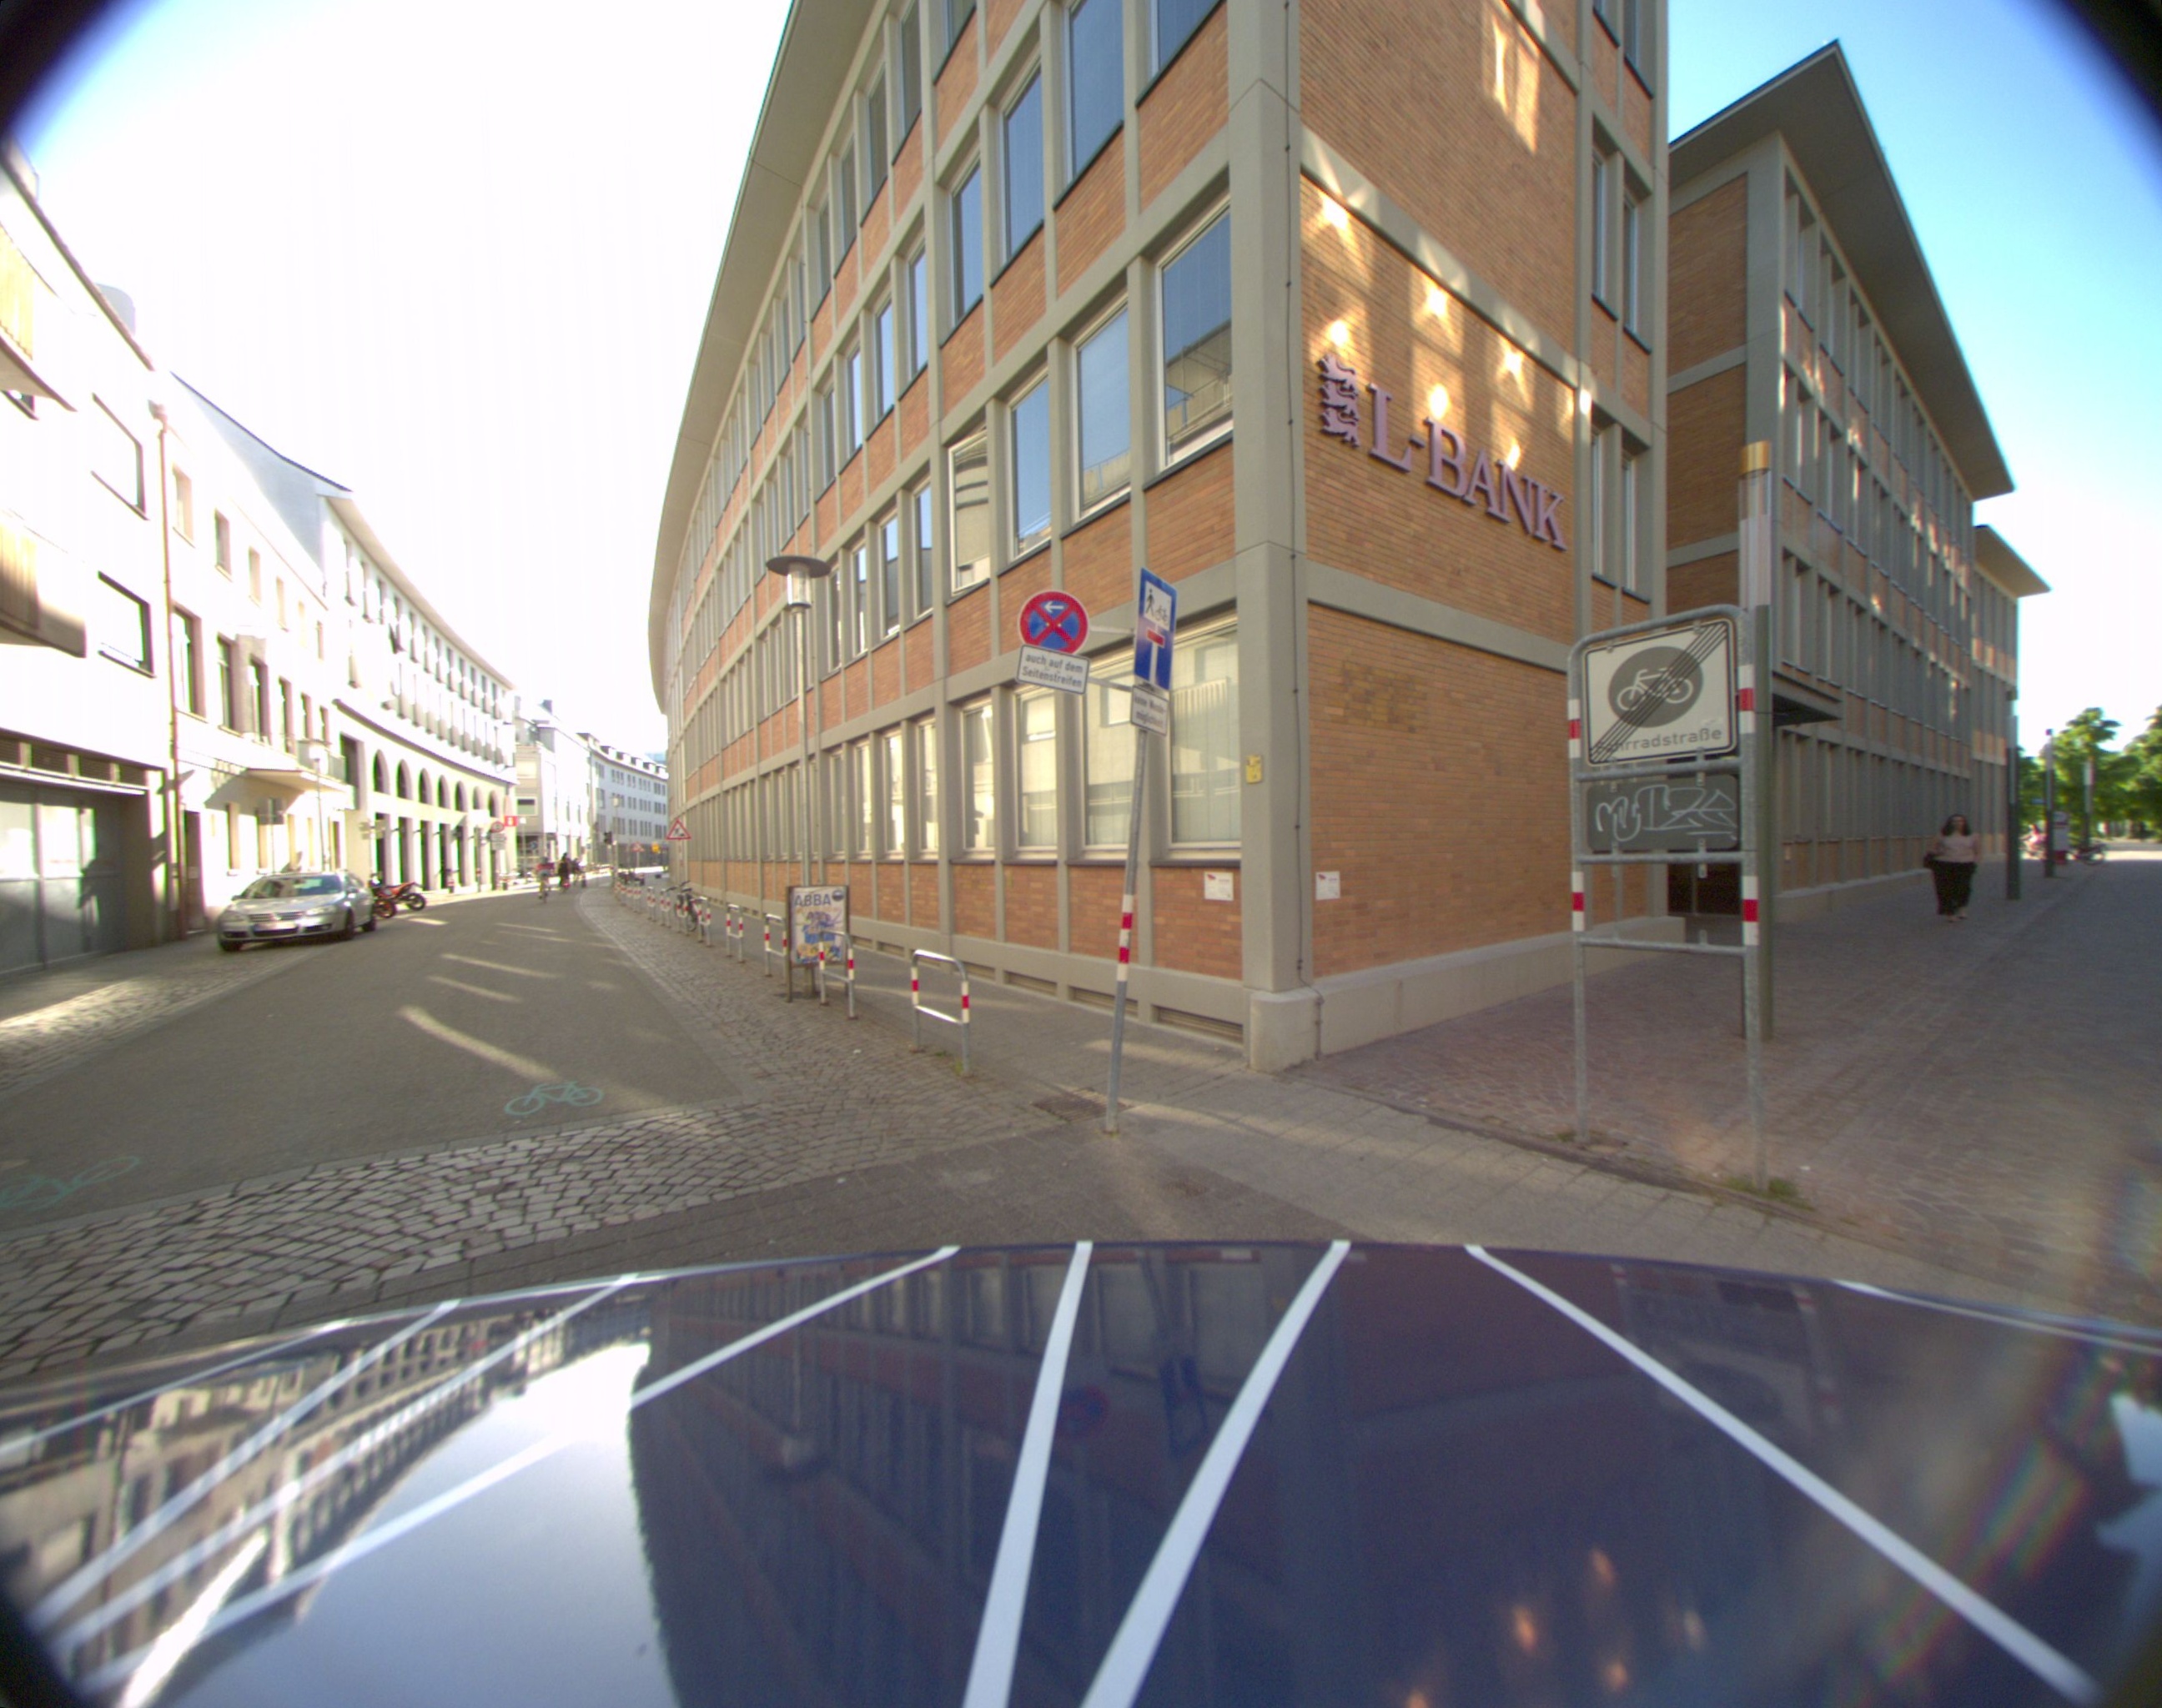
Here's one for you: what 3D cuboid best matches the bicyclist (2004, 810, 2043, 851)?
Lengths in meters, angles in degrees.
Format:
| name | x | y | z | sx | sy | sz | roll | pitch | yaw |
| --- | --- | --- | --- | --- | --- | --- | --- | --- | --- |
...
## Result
| name | x | y | z | sx | sy | sz | roll | pitch | yaw |
| --- | --- | --- | --- | --- | --- | --- | --- | --- | --- |
| bicyclist | 47.118 | -1.160 | 37.992 | 1.005 | 2.002 | 1.093 | -2 | 2 | -32 |

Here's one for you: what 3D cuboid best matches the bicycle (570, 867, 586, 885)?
| name | x | y | z | sx | sy | sz | roll | pitch | yaw |
| --- | --- | --- | --- | --- | --- | --- | --- | --- | --- |
| bicycle | -30.024 | 1.296 | 45.350 | 0.624 | 0.955 | 1.716 | -2 | 2 | -30 |

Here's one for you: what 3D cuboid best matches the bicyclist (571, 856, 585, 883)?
| name | x | y | z | sx | sy | sz | roll | pitch | yaw |
| --- | --- | --- | --- | --- | --- | --- | --- | --- | --- |
| bicyclist | -30.078 | 0.898 | 45.398 | 0.582 | 1.566 | 0.690 | -3 | 2 | -29 |

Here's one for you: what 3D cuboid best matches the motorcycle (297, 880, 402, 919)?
| name | x | y | z | sx | sy | sz | roll | pitch | yaw |
| --- | --- | --- | --- | --- | --- | --- | --- | --- | --- |
| motorcycle | -20.616 | 1.273 | 21.451 | 2.001 | 0.950 | 0.644 | -2 | 2 | -22 |

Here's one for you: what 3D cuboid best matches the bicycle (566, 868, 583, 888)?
| name | x | y | z | sx | sy | sz | roll | pitch | yaw |
| --- | --- | --- | --- | --- | --- | --- | --- | --- | --- |
| bicycle | -26.061 | 1.211 | 39.121 | 0.578 | 0.955 | 1.716 | -2 | 2 | -30 |

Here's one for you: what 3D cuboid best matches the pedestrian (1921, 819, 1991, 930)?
| name | x | y | z | sx | sy | sz | roll | pitch | yaw |
| --- | --- | --- | --- | --- | --- | --- | --- | --- | --- |
| pedestrian | 14.427 | 0.316 | 12.528 | 0.699 | 1.769 | 0.691 | -3 | 2 | -37 |

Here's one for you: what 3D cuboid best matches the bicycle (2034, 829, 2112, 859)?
| name | x | y | z | sx | sy | sz | roll | pitch | yaw |
| --- | --- | --- | --- | --- | --- | --- | --- | --- | --- |
| bicycle | 43.013 | -0.450 | 32.970 | 2.071 | 1.253 | 0.724 | -1 | 2 | 11 |

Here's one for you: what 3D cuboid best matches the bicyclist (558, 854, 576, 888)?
| name | x | y | z | sx | sy | sz | roll | pitch | yaw |
| --- | --- | --- | --- | --- | --- | --- | --- | --- | --- |
| bicyclist | -23.752 | 0.772 | 35.145 | 0.582 | 1.566 | 0.690 | -3 | 2 | -31 |

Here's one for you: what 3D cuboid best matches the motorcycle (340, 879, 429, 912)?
| name | x | y | z | sx | sy | sz | roll | pitch | yaw |
| --- | --- | --- | --- | --- | --- | --- | --- | --- | --- |
| motorcycle | -22.667 | 1.337 | 24.776 | 2.001 | 0.950 | 0.644 | -2 | 2 | -22 |

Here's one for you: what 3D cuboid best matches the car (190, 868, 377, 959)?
| name | x | y | z | sx | sy | sz | roll | pitch | yaw |
| --- | --- | --- | --- | --- | --- | --- | --- | --- | --- |
| car | -16.241 | 1.108 | 15.731 | 1.851 | 1.453 | 3.988 | -4 | 2 | -35 |

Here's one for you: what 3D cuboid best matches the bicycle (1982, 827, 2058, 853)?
| name | x | y | z | sx | sy | sz | roll | pitch | yaw |
| --- | --- | --- | --- | --- | --- | --- | --- | --- | --- |
| bicycle | 47.066 | -0.678 | 38.113 | 0.781 | 1.265 | 2.327 | -2 | 2 | -34 |

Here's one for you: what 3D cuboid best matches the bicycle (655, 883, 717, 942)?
| name | x | y | z | sx | sy | sz | roll | pitch | yaw |
| --- | --- | --- | --- | --- | --- | --- | --- | --- | --- |
| bicycle | -7.990 | 1.145 | 15.333 | 0.629 | 1.048 | 1.817 | -3 | 2 | -42 |

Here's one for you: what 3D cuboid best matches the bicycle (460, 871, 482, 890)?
| name | x | y | z | sx | sy | sz | roll | pitch | yaw |
| --- | --- | --- | --- | --- | --- | --- | --- | --- | --- |
| bicycle | -32.054 | 1.381 | 39.951 | 0.578 | 0.955 | 1.716 | -2 | 2 | -30 |

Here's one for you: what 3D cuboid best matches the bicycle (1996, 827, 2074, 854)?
| name | x | y | z | sx | sy | sz | roll | pitch | yaw |
| --- | --- | --- | --- | --- | --- | --- | --- | --- | --- |
| bicycle | 46.576 | -0.647 | 37.123 | 0.781 | 1.265 | 2.327 | -2 | 2 | -34 |

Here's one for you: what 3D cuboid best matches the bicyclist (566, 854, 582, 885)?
| name | x | y | z | sx | sy | sz | roll | pitch | yaw |
| --- | --- | --- | --- | --- | --- | --- | --- | --- | --- |
| bicyclist | -26.098 | 0.798 | 39.119 | 0.578 | 1.525 | 0.814 | -2 | 2 | -30 |

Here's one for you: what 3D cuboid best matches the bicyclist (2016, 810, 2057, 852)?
| name | x | y | z | sx | sy | sz | roll | pitch | yaw |
| --- | --- | --- | --- | --- | --- | --- | --- | --- | --- |
| bicyclist | 46.522 | -1.127 | 36.999 | 1.005 | 2.002 | 1.093 | -2 | 2 | -32 |

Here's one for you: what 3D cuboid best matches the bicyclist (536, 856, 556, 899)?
| name | x | y | z | sx | sy | sz | roll | pitch | yaw |
| --- | --- | --- | --- | --- | --- | --- | --- | --- | --- |
| bicyclist | -19.035 | 0.827 | 27.037 | 0.473 | 1.495 | 0.793 | -2 | 2 | -32 |

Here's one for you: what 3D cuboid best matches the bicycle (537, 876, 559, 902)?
| name | x | y | z | sx | sy | sz | roll | pitch | yaw |
| --- | --- | --- | --- | --- | --- | --- | --- | --- | --- |
| bicycle | -19.112 | 1.256 | 27.257 | 0.525 | 0.843 | 1.486 | -2 | 2 | -31 |

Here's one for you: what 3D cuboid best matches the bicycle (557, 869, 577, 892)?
| name | x | y | z | sx | sy | sz | roll | pitch | yaw |
| --- | --- | --- | --- | --- | --- | --- | --- | --- | --- |
| bicycle | -23.644 | 1.200 | 34.982 | 0.578 | 0.955 | 1.716 | -2 | 2 | -30 |
